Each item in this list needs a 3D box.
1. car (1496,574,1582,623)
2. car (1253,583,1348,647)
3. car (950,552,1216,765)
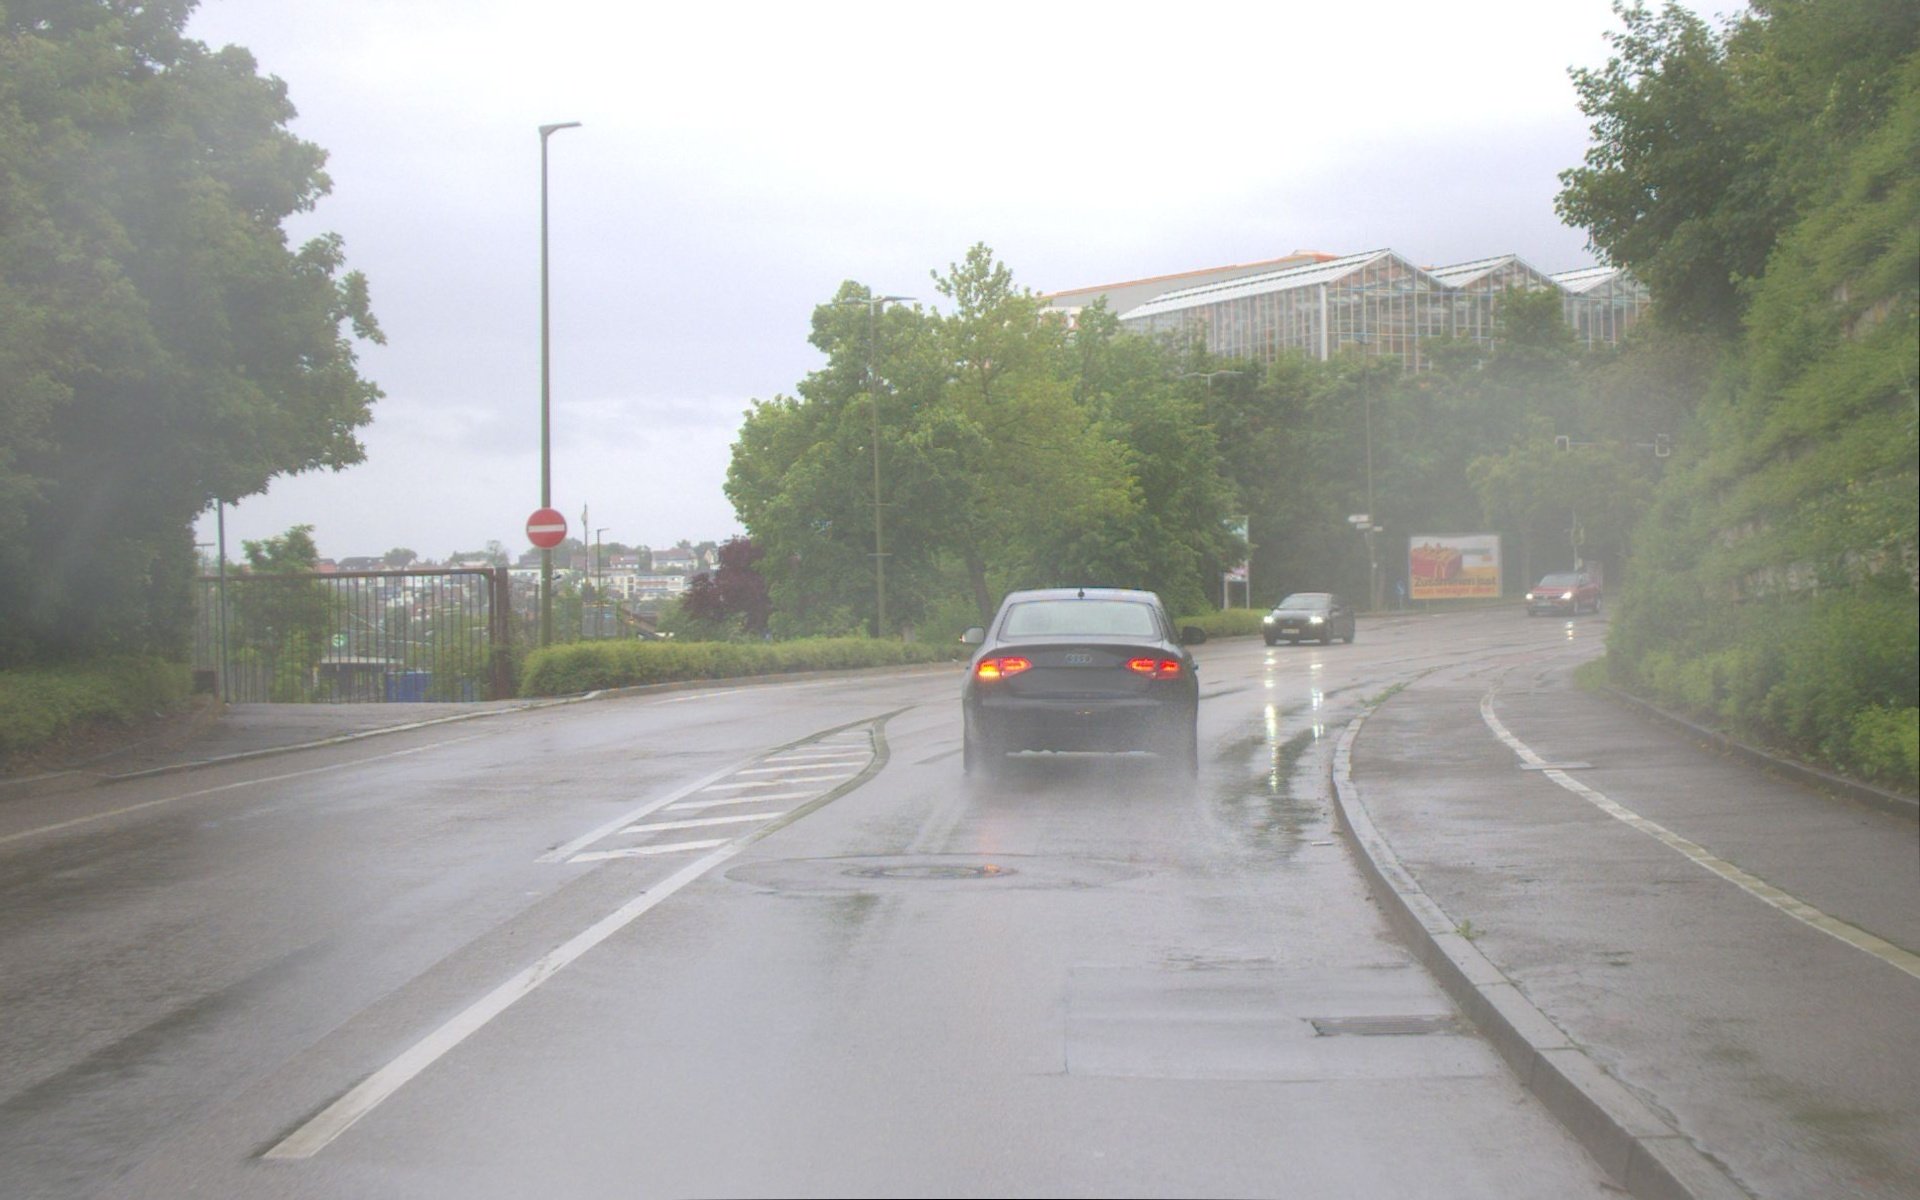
[{"bbox_3d":[21.166,-0.061,125.545,1.996,1.735,3.994,0,1,27],"label":"car"},{"bbox_3d":[9.700,0.418,97.820,1.995,1.735,3.997,0,1,16],"label":"car"},{"bbox_3d":[0.915,0.391,26.917,1.893,1.487,4.207,1,1,1],"label":"car"}]
